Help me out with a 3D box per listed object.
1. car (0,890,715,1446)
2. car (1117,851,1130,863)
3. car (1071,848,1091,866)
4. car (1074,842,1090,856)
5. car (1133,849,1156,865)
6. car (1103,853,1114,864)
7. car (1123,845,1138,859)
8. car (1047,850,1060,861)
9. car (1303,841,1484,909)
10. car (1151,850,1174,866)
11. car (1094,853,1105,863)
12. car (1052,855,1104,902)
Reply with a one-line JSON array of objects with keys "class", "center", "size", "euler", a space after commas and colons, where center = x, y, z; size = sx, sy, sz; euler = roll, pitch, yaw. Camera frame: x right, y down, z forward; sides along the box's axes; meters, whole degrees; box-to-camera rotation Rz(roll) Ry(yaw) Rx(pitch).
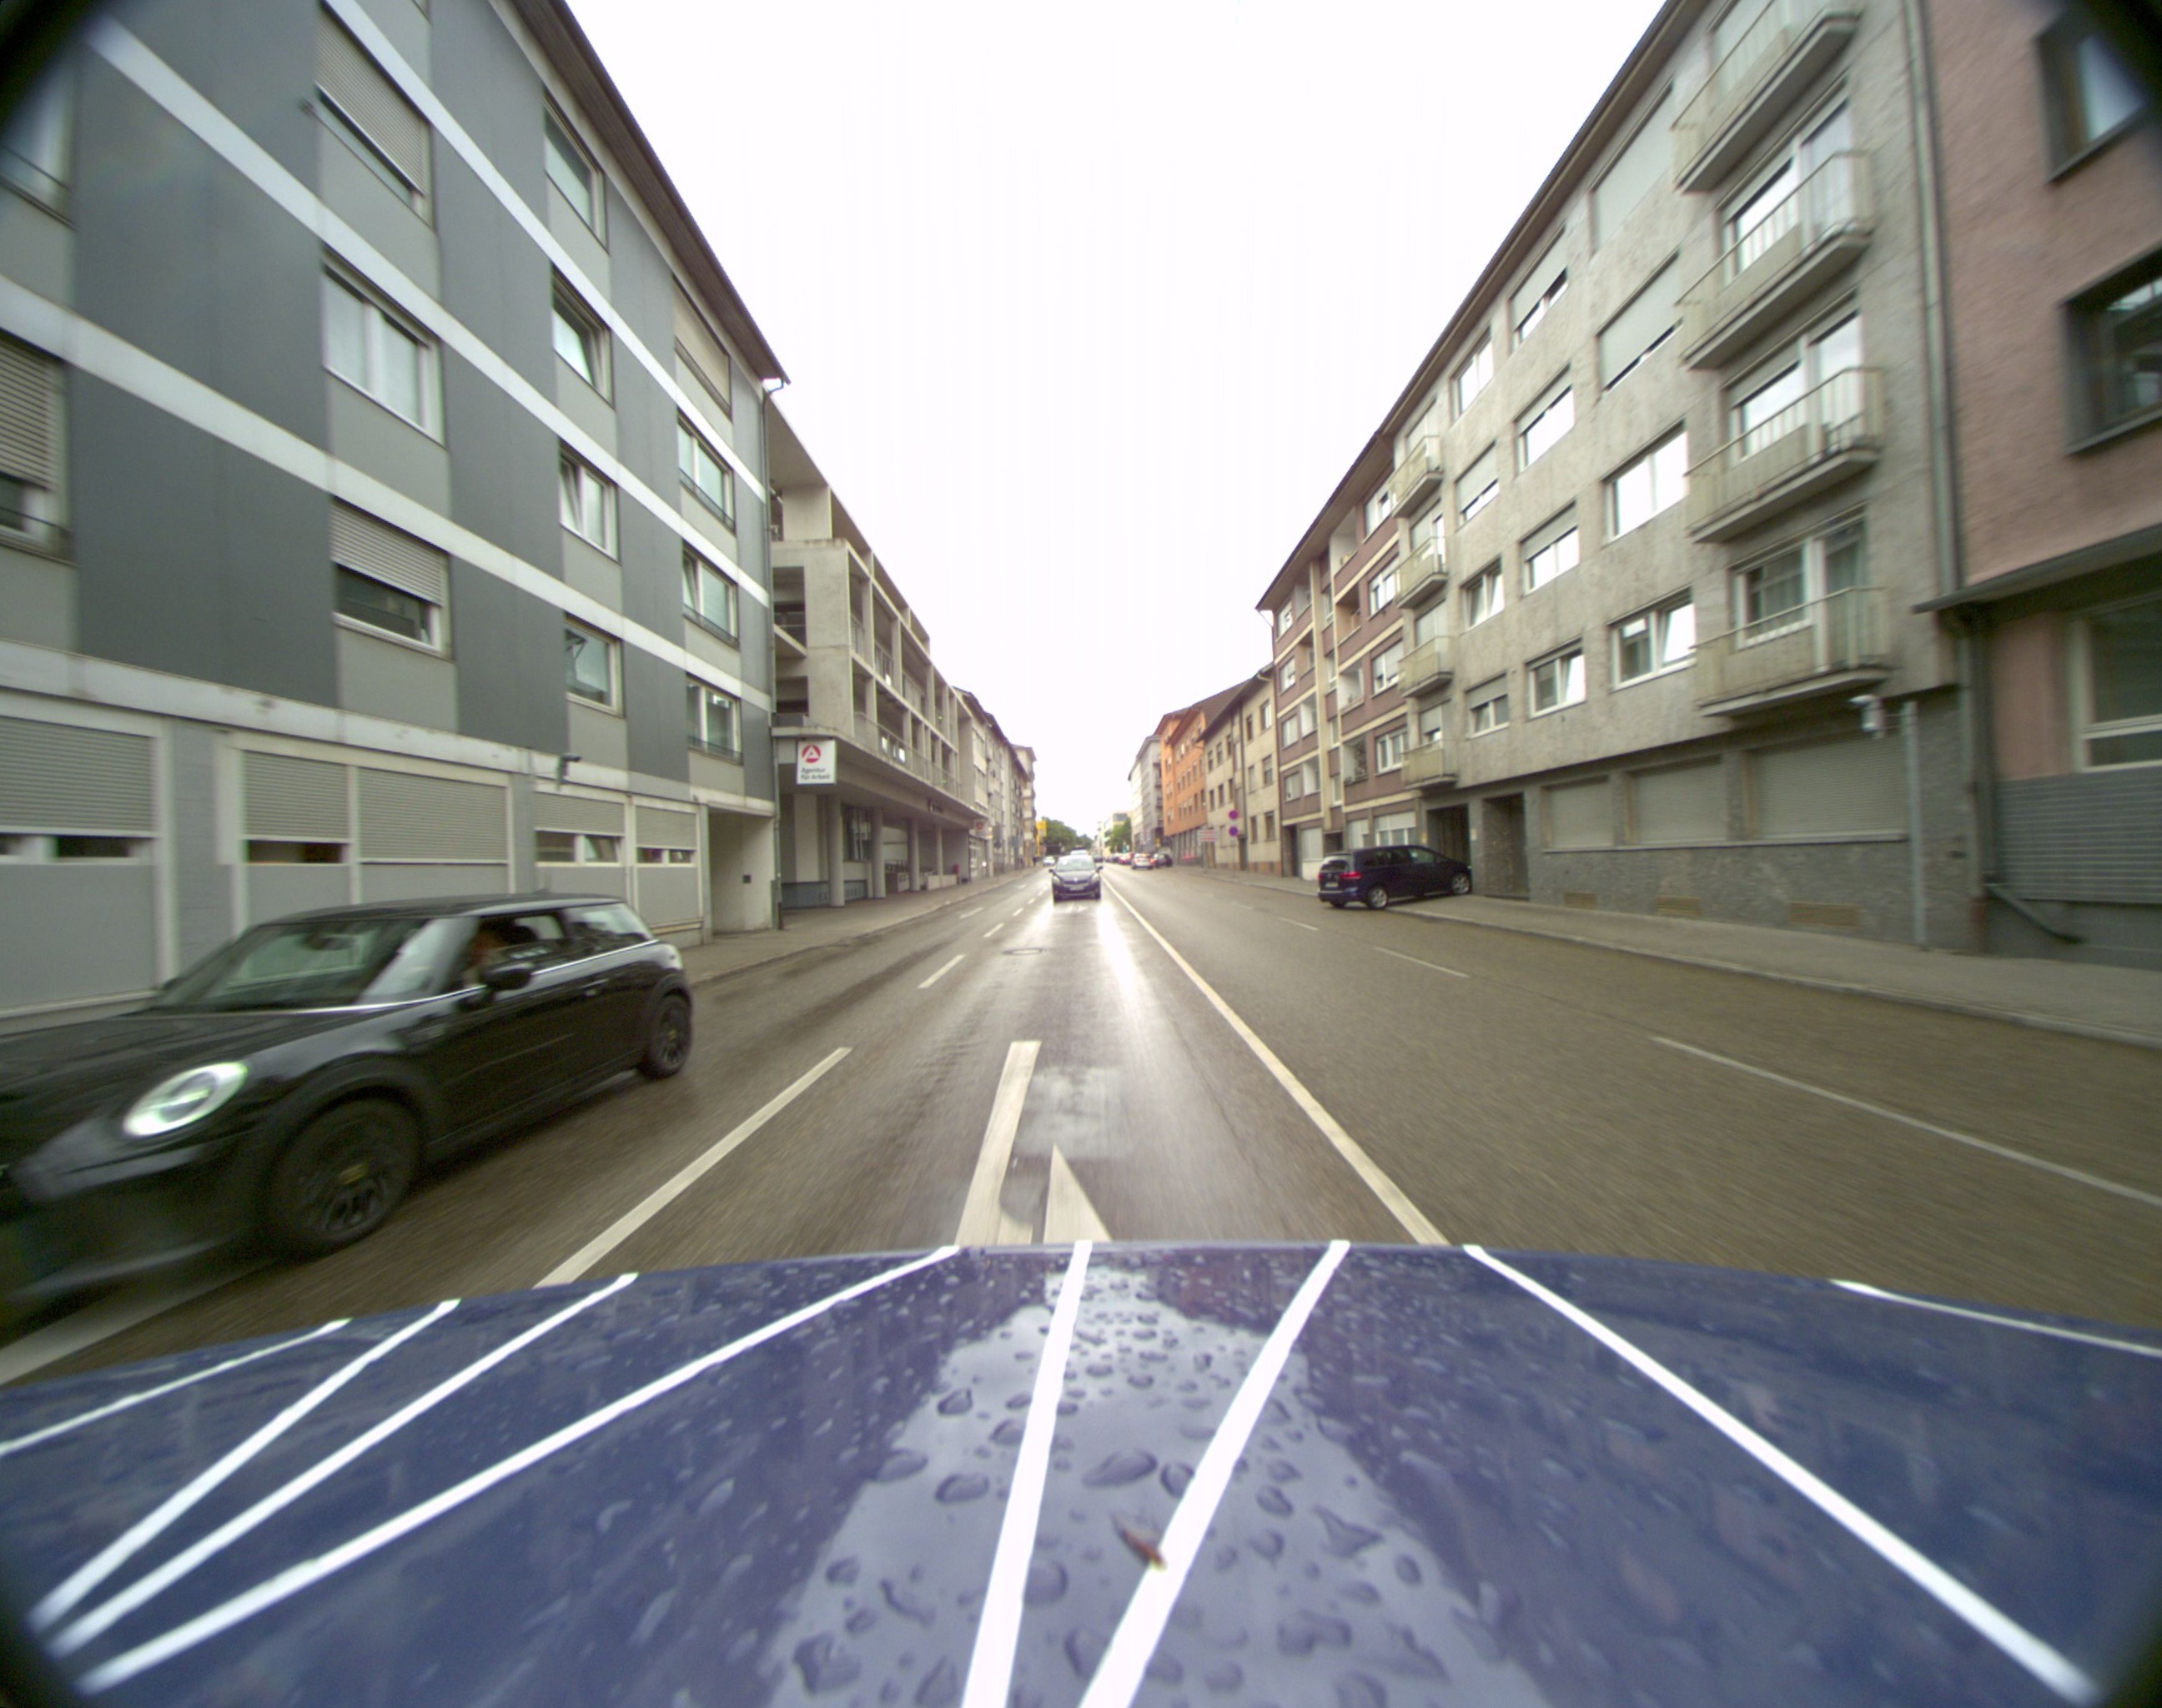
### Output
[{"class": "car", "center": [-3.902, 1.073, 4.280], "size": [1.665, 1.412, 4.071], "euler": [-3, 1, -1]}, {"class": "car", "center": [6.268, 0.388, 112.681], "size": [1.722, 1.652, 3.679], "euler": [-3, 1, 2]}, {"class": "car", "center": [0.020, 0.309, 75.528], "size": [1.721, 1.652, 3.679], "euler": [-3, 1, 2]}, {"class": "car", "center": [0.146, -0.630, 98.789], "size": [1.851, 1.652, 3.679], "euler": [-3, 1, 2]}, {"class": "car", "center": [5.967, 0.278, 71.432], "size": [1.732, 1.452, 4.071], "euler": [0, 1, -1]}, {"class": "car", "center": [4.713, 0.700, 129.097], "size": [1.722, 1.652, 3.679], "euler": [-3, 1, 2]}, {"class": "car", "center": [6.471, -0.249, 99.346], "size": [1.722, 1.652, 3.679], "euler": [-3, 1, 2]}, {"class": "car", "center": [-4.354, 0.254, 120.980], "size": [1.722, 1.652, 3.679], "euler": [-3, 1, 2]}, {"class": "car", "center": [8.580, 0.528, 20.914], "size": [4.312, 1.566, 1.997], "euler": [-3, 1, -19]}, {"class": "car", "center": [8.394, 0.370, 78.255], "size": [1.708, 1.447, 3.804], "euler": [-4, 1, -3]}, {"class": "car", "center": [3.071, 0.676, 127.997], "size": [1.722, 1.652, 3.679], "euler": [-3, 1, 2]}, {"class": "car", "center": [-0.132, 0.875, 29.071], "size": [1.732, 1.472, 4.071], "euler": [-5, 1, -1]}]
